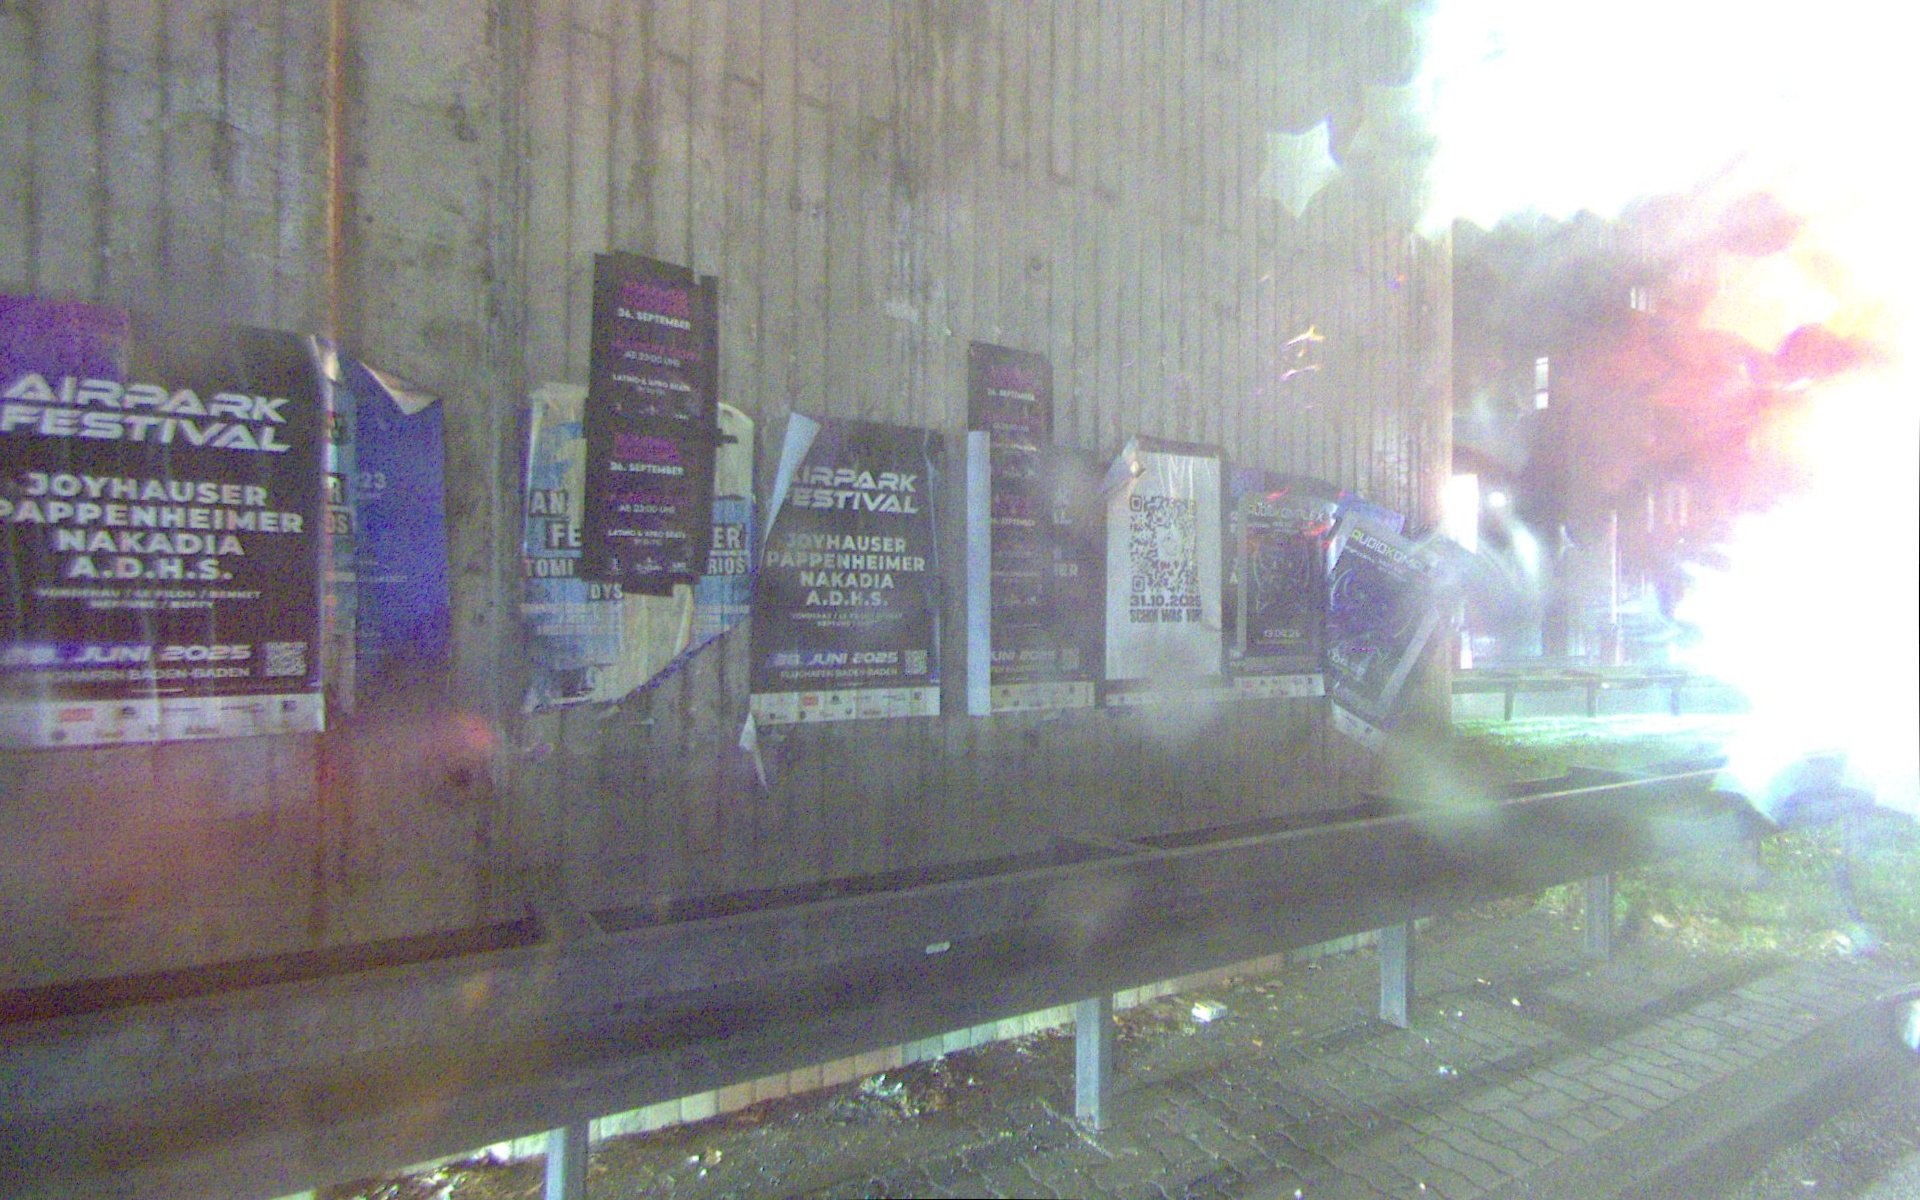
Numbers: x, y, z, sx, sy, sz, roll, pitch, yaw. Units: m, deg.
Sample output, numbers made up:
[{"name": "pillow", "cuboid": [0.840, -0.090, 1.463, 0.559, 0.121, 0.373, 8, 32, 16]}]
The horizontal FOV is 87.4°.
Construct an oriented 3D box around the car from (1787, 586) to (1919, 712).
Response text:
[{"name": "car", "cuboid": [17.126, 0.808, 16.557, 5.007, 2.011, 2.001, 0, -1, 17]}]
